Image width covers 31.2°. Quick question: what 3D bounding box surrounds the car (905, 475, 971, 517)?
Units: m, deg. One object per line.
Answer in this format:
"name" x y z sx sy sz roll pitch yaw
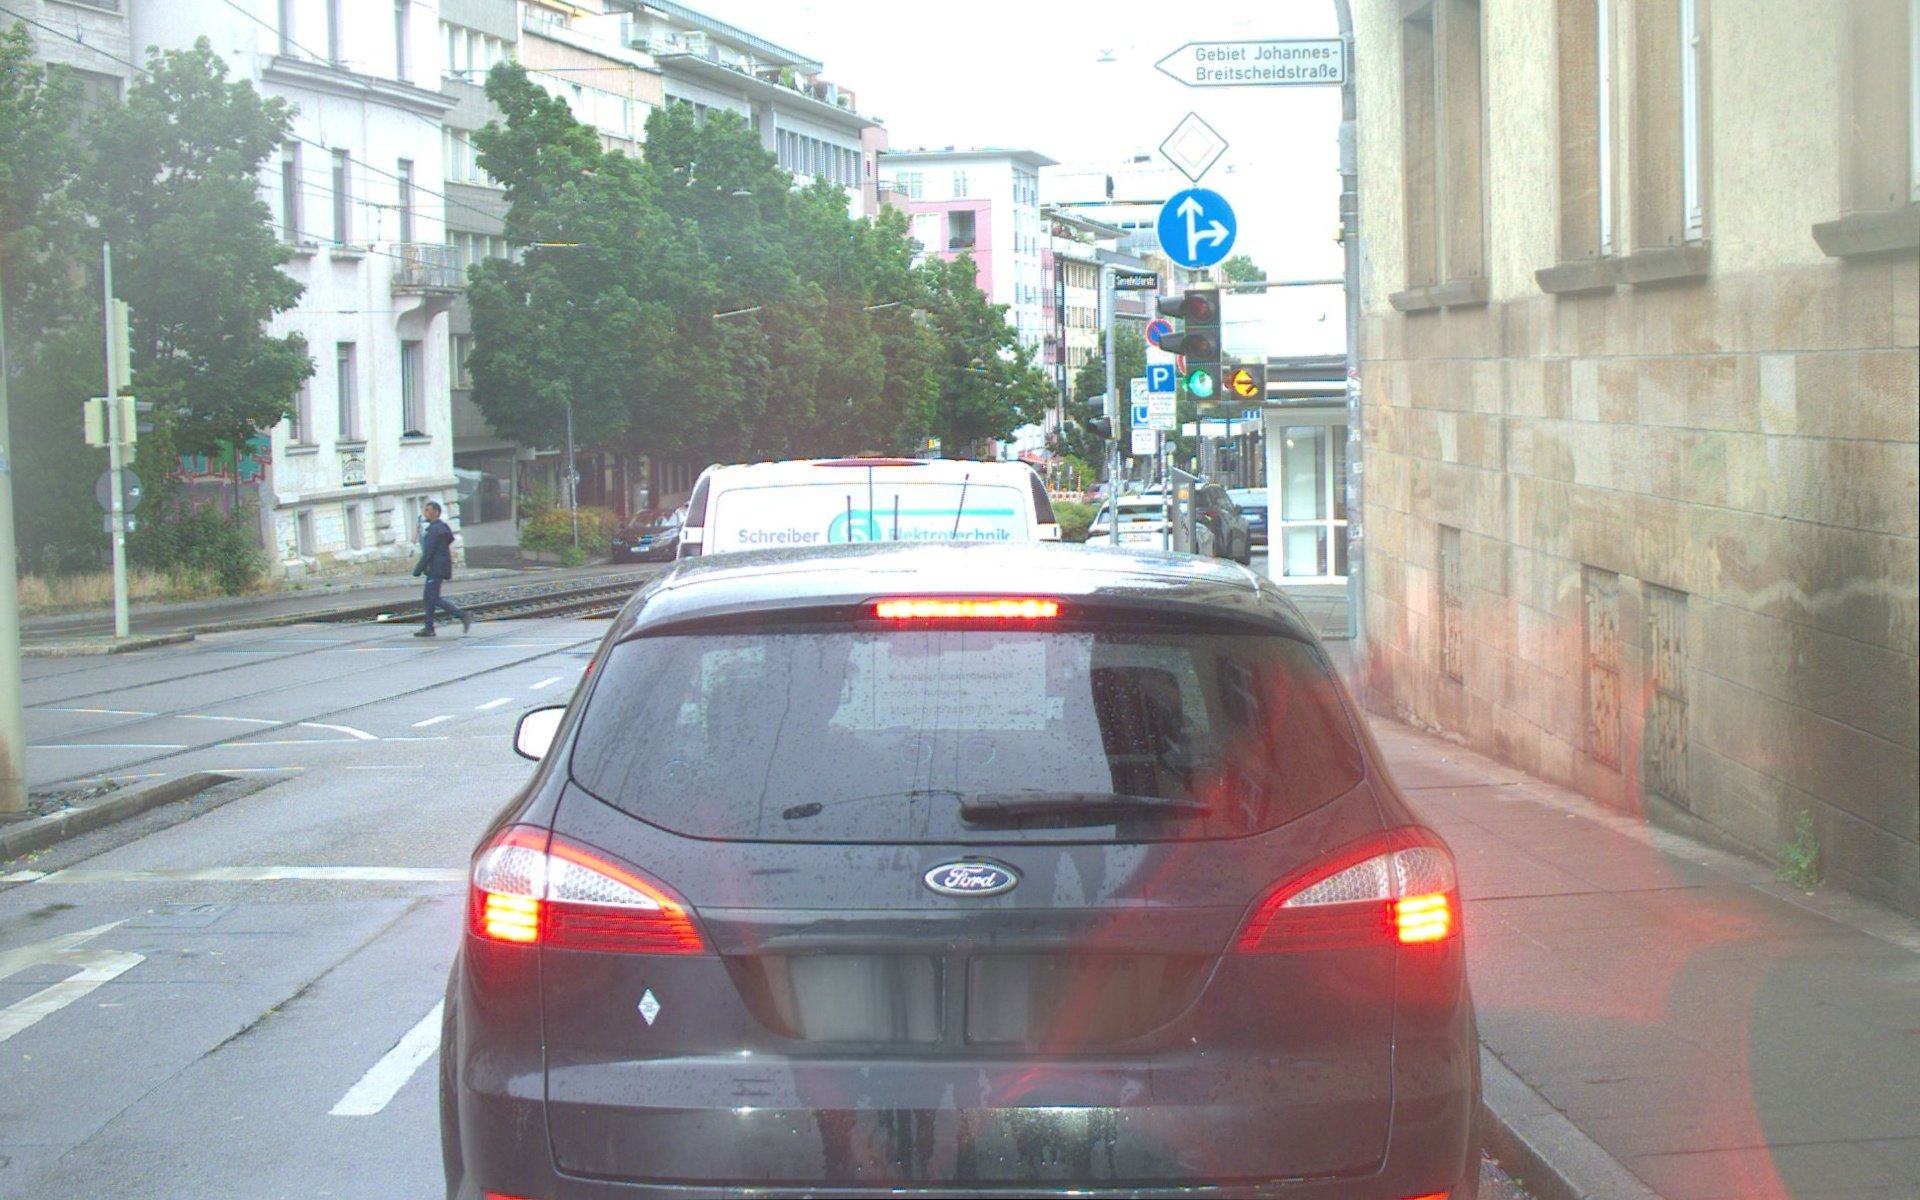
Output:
"car" -0.872 -4.212 139.756 1.856 1.631 4.933 0 1 10

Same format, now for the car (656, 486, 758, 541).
"car" -7.321 -2.503 99.859 1.856 1.543 4.719 0 1 10

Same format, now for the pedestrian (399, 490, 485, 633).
"pedestrian" -6.758 -0.501 44.900 0.930 1.823 0.959 1 1 2

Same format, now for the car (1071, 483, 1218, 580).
"car" 3.043 -1.108 55.856 1.802 1.450 4.585 -2 1 10

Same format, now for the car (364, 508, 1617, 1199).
"car" 0.015 0.596 7.086 1.842 1.502 4.000 1 1 -1

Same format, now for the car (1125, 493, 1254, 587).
"car" 4.240 -1.101 62.903 1.846 1.627 4.585 -1 1 10

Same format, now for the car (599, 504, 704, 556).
"car" -8.371 -1.890 93.755 1.694 1.373 4.719 0 1 10

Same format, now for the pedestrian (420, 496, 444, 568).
"pedestrian" -12.192 -1.559 79.396 0.467 1.646 0.582 1 1 -2

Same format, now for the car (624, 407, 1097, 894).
"car" -0.485 0.184 16.924 1.988 2.053 4.645 1 1 -2
